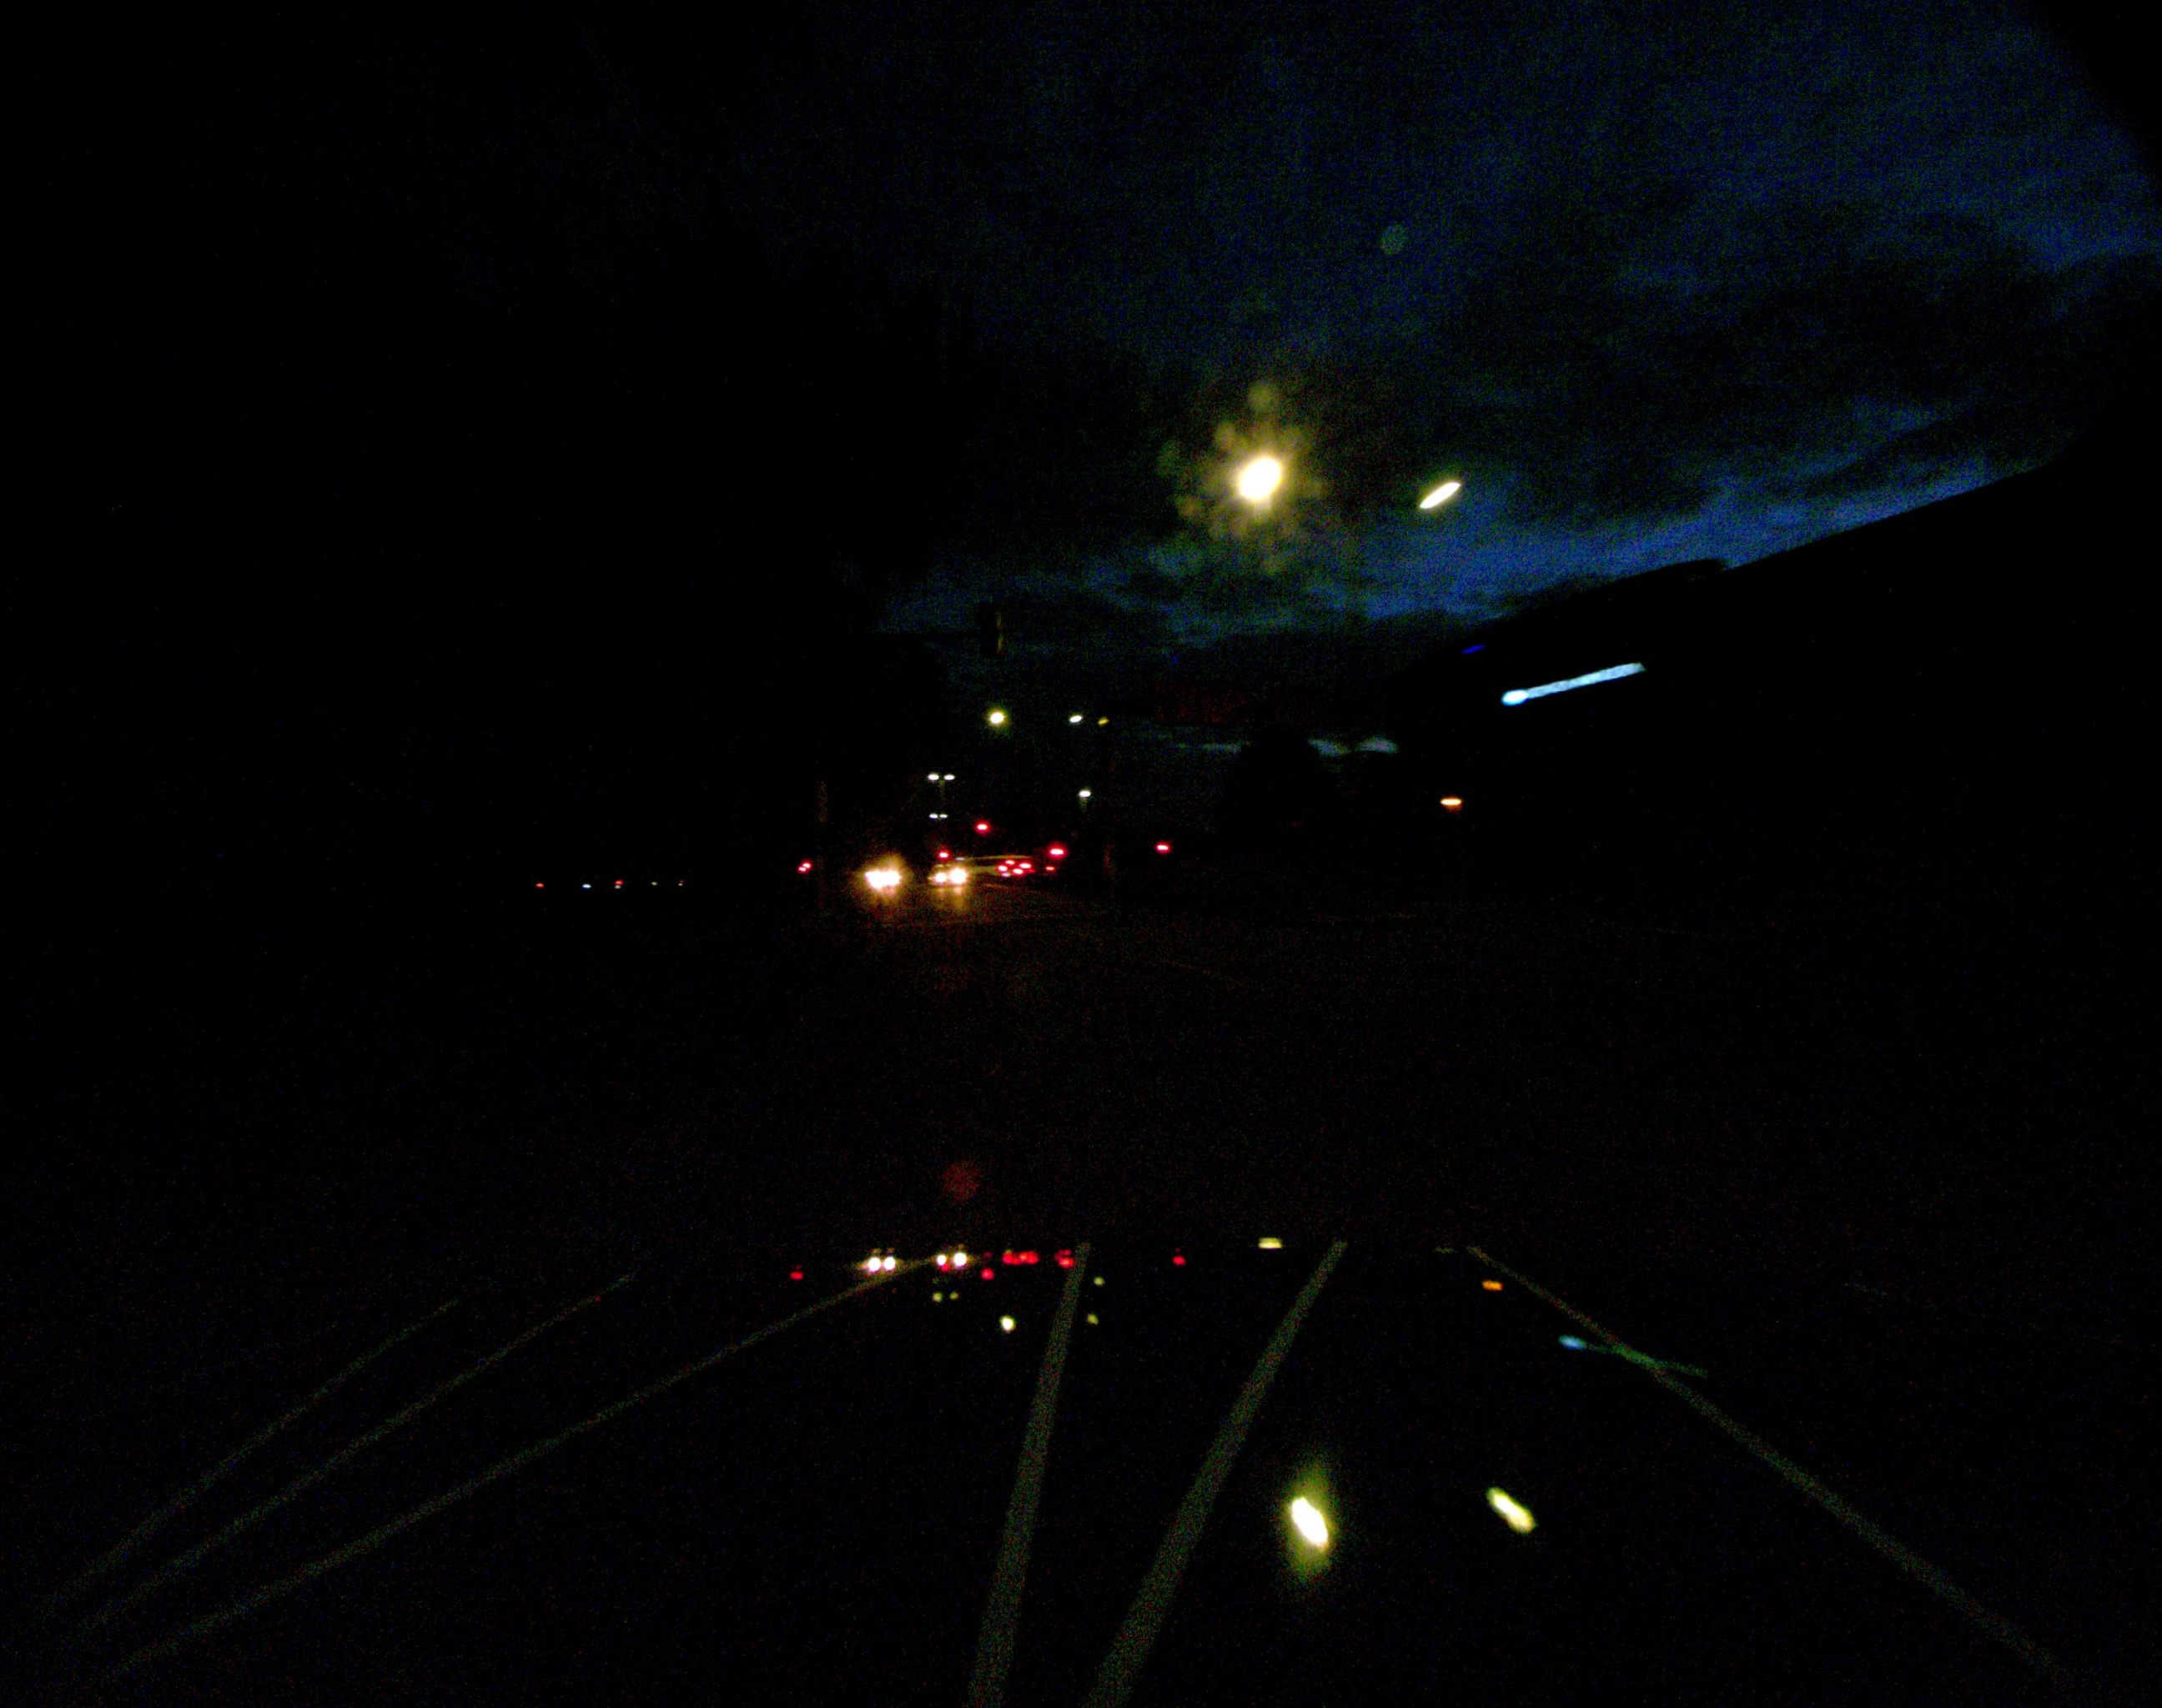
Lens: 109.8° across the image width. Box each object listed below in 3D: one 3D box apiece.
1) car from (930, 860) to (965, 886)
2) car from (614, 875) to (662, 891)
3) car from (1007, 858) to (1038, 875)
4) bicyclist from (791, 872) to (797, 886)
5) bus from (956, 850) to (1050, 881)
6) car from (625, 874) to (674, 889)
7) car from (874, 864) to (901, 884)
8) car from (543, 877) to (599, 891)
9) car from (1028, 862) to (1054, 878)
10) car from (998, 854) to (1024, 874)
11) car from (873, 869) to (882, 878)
[{"bbox_3d":[-9.216,1.271,52.283,1.672,1.643,4.404,-3,0,-19],"label":"car"},{"bbox_3d":[-46.633,3.031,80.100,4.002,1.515,1.836,-1,-1,-13],"label":"car"},{"bbox_3d":[-5.261,1.175,67.860,1.878,1.389,4.833,-2,-1,-15],"label":"car"},{"bbox_3d":[-36.029,3.149,95.486,0.604,1.641,0.999,-1,-1,-19],"label":"bicyclist"},{"bbox_3d":[-10.382,1.560,102.380,12.291,3.766,2.612,-1,-3,-25],"label":"bus"},{"bbox_3d":[-47.399,3.038,83.603,4.364,1.616,1.750,-1,-2,-13],"label":"car"},{"bbox_3d":[-15.271,1.551,59.823,1.672,1.472,3.770,-2,1,-19],"label":"car"},{"bbox_3d":[-52.324,3.069,78.074,4.399,1.381,1.836,-1,-1,-13],"label":"car"},{"bbox_3d":[-3.950,1.597,74.550,1.776,1.438,3.777,-1,-2,-14],"label":"car"},{"bbox_3d":[-7.001,1.042,75.306,1.850,1.803,4.770,-1,-2,-14],"label":"car"},{"bbox_3d":[-40.267,3.862,150.190,1.700,1.586,3.922,-2,-3,-15],"label":"car"}]
